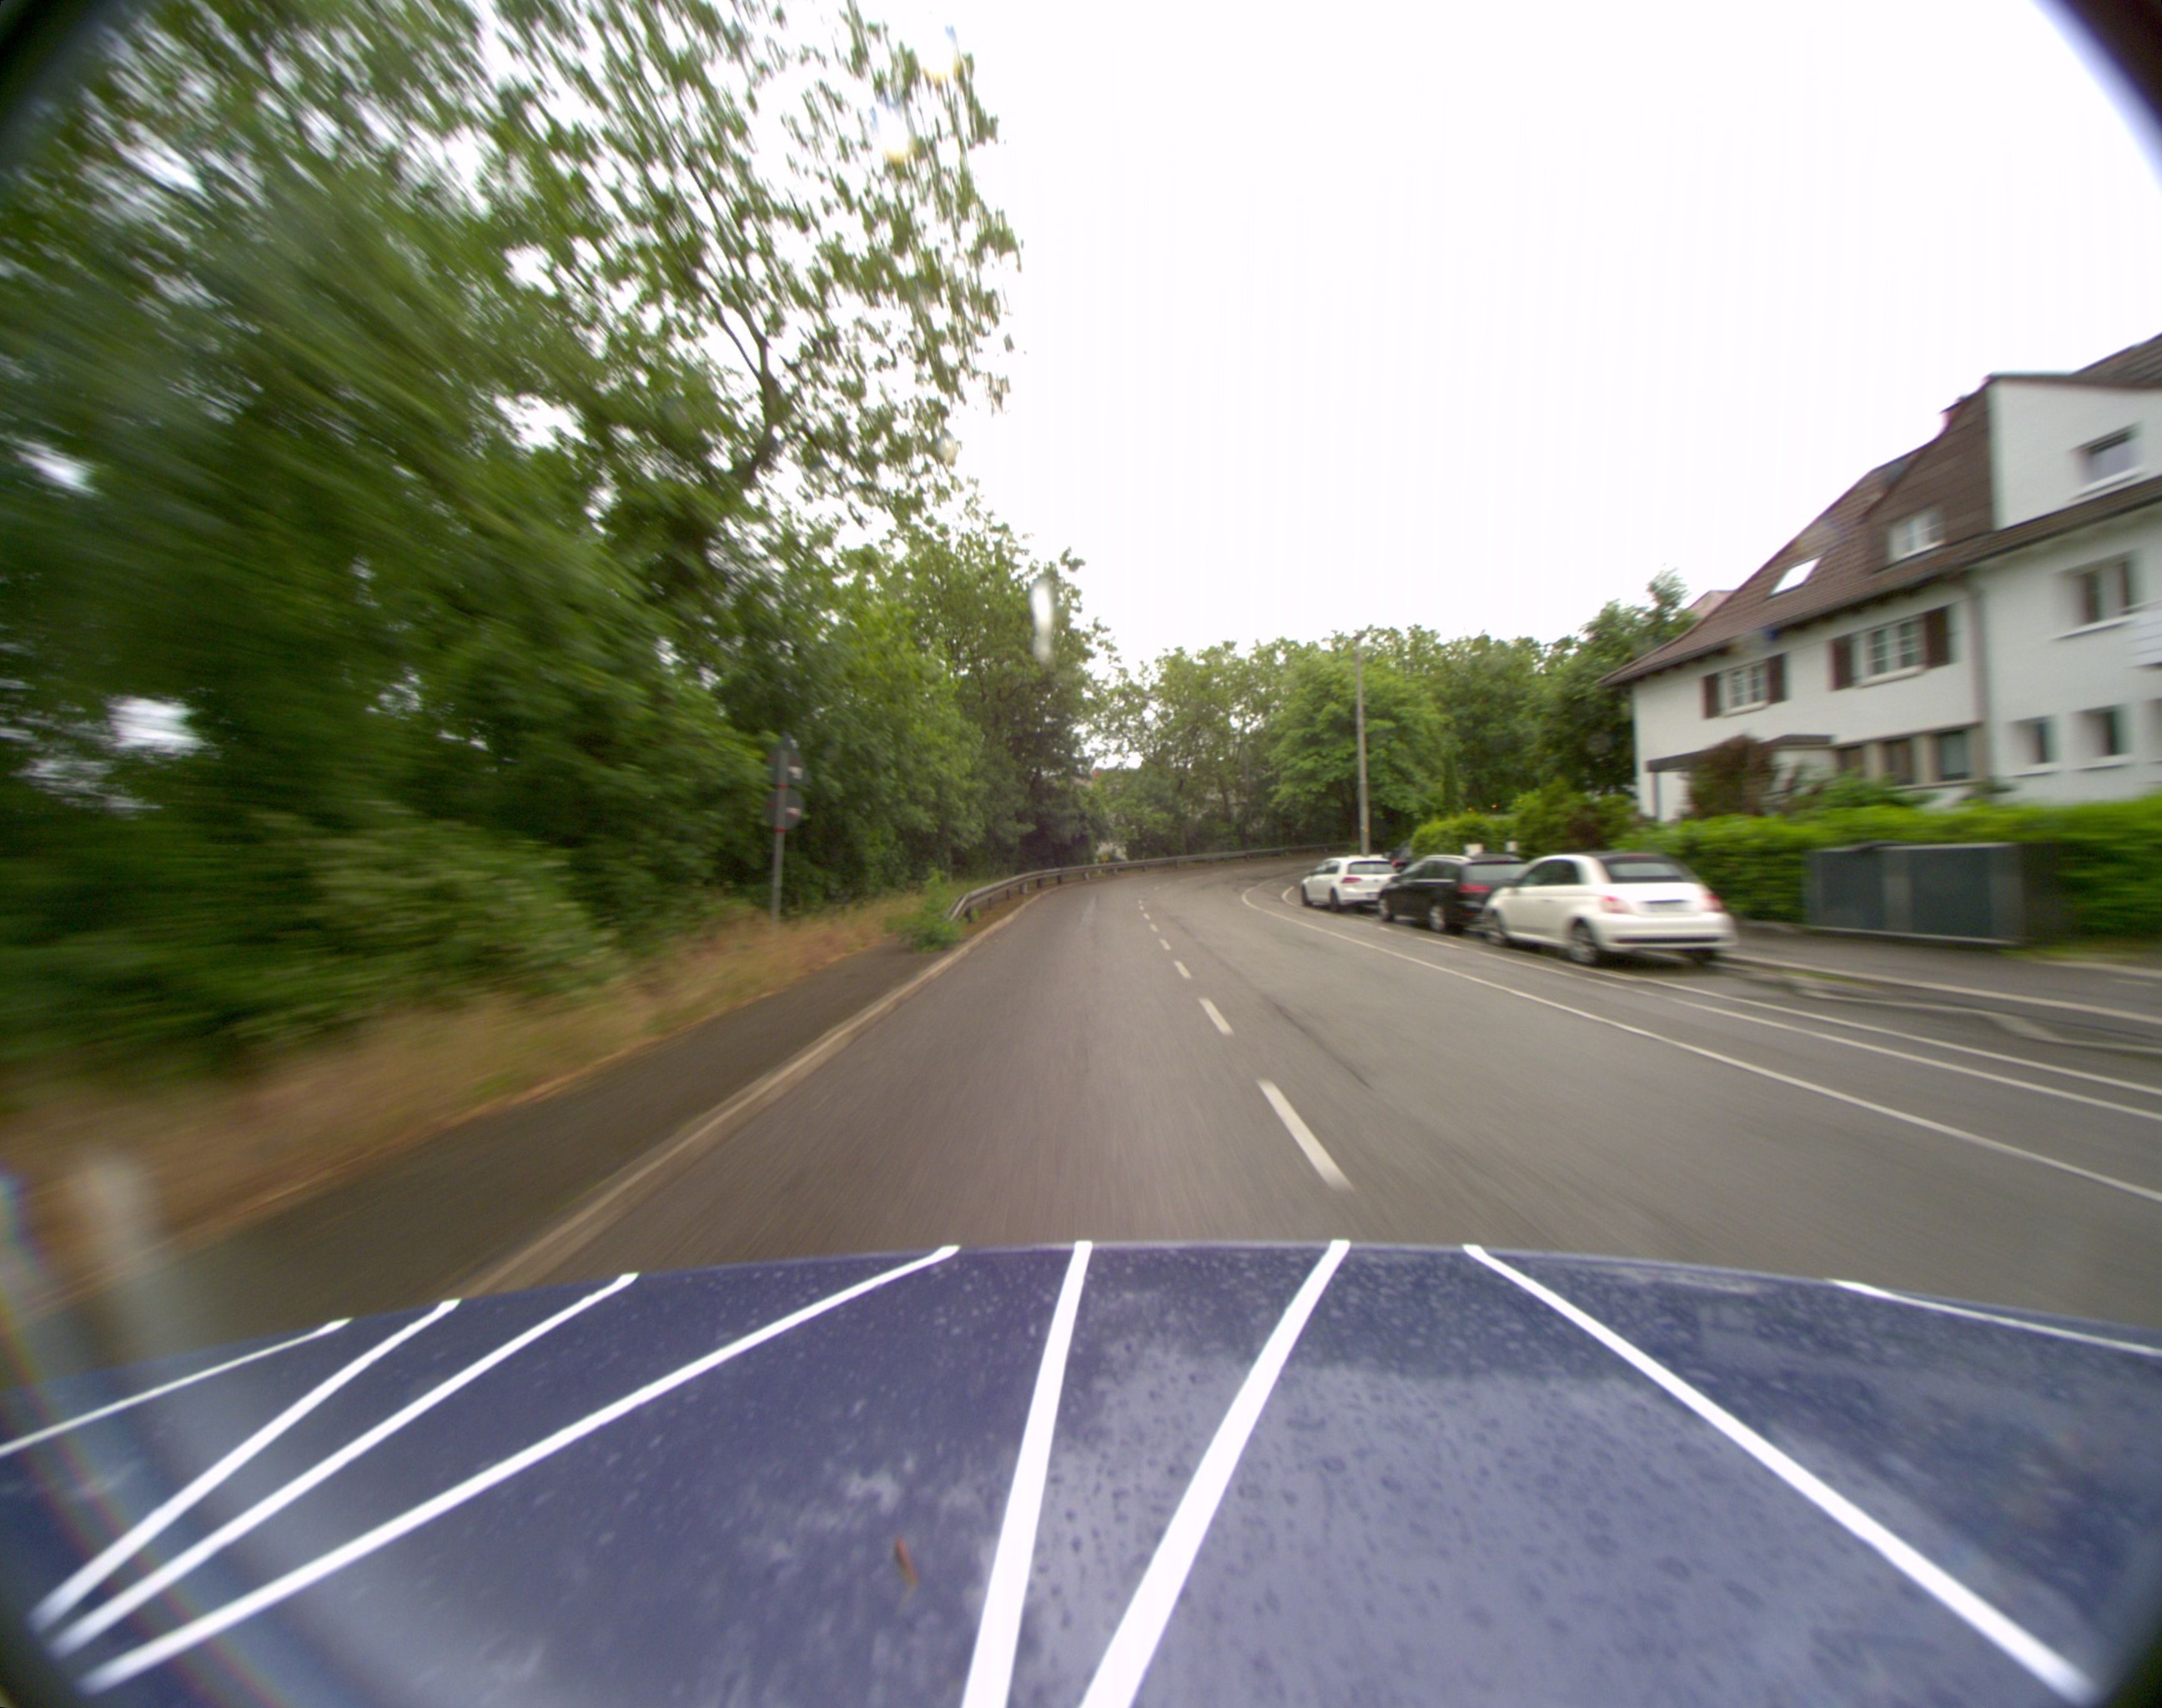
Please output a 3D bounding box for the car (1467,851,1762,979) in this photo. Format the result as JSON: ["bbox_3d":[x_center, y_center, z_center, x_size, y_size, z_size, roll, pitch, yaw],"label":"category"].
[{"bbox_3d":[7.351,0.723,10.979,1.702,1.459,3.711,-3,0,2],"label":"car"}]

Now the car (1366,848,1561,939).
[{"bbox_3d":[7.475,0.680,15.417,1.702,1.516,4.422,-3,0,0],"label":"car"}]

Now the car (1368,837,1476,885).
[{"bbox_3d":[13.412,0.262,30.039,3.346,1.511,1.822,-6,1,-3],"label":"car"}]

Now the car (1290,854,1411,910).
[{"bbox_3d":[7.348,0.716,21.180,1.737,1.413,4.282,0,0,-2],"label":"car"}]
